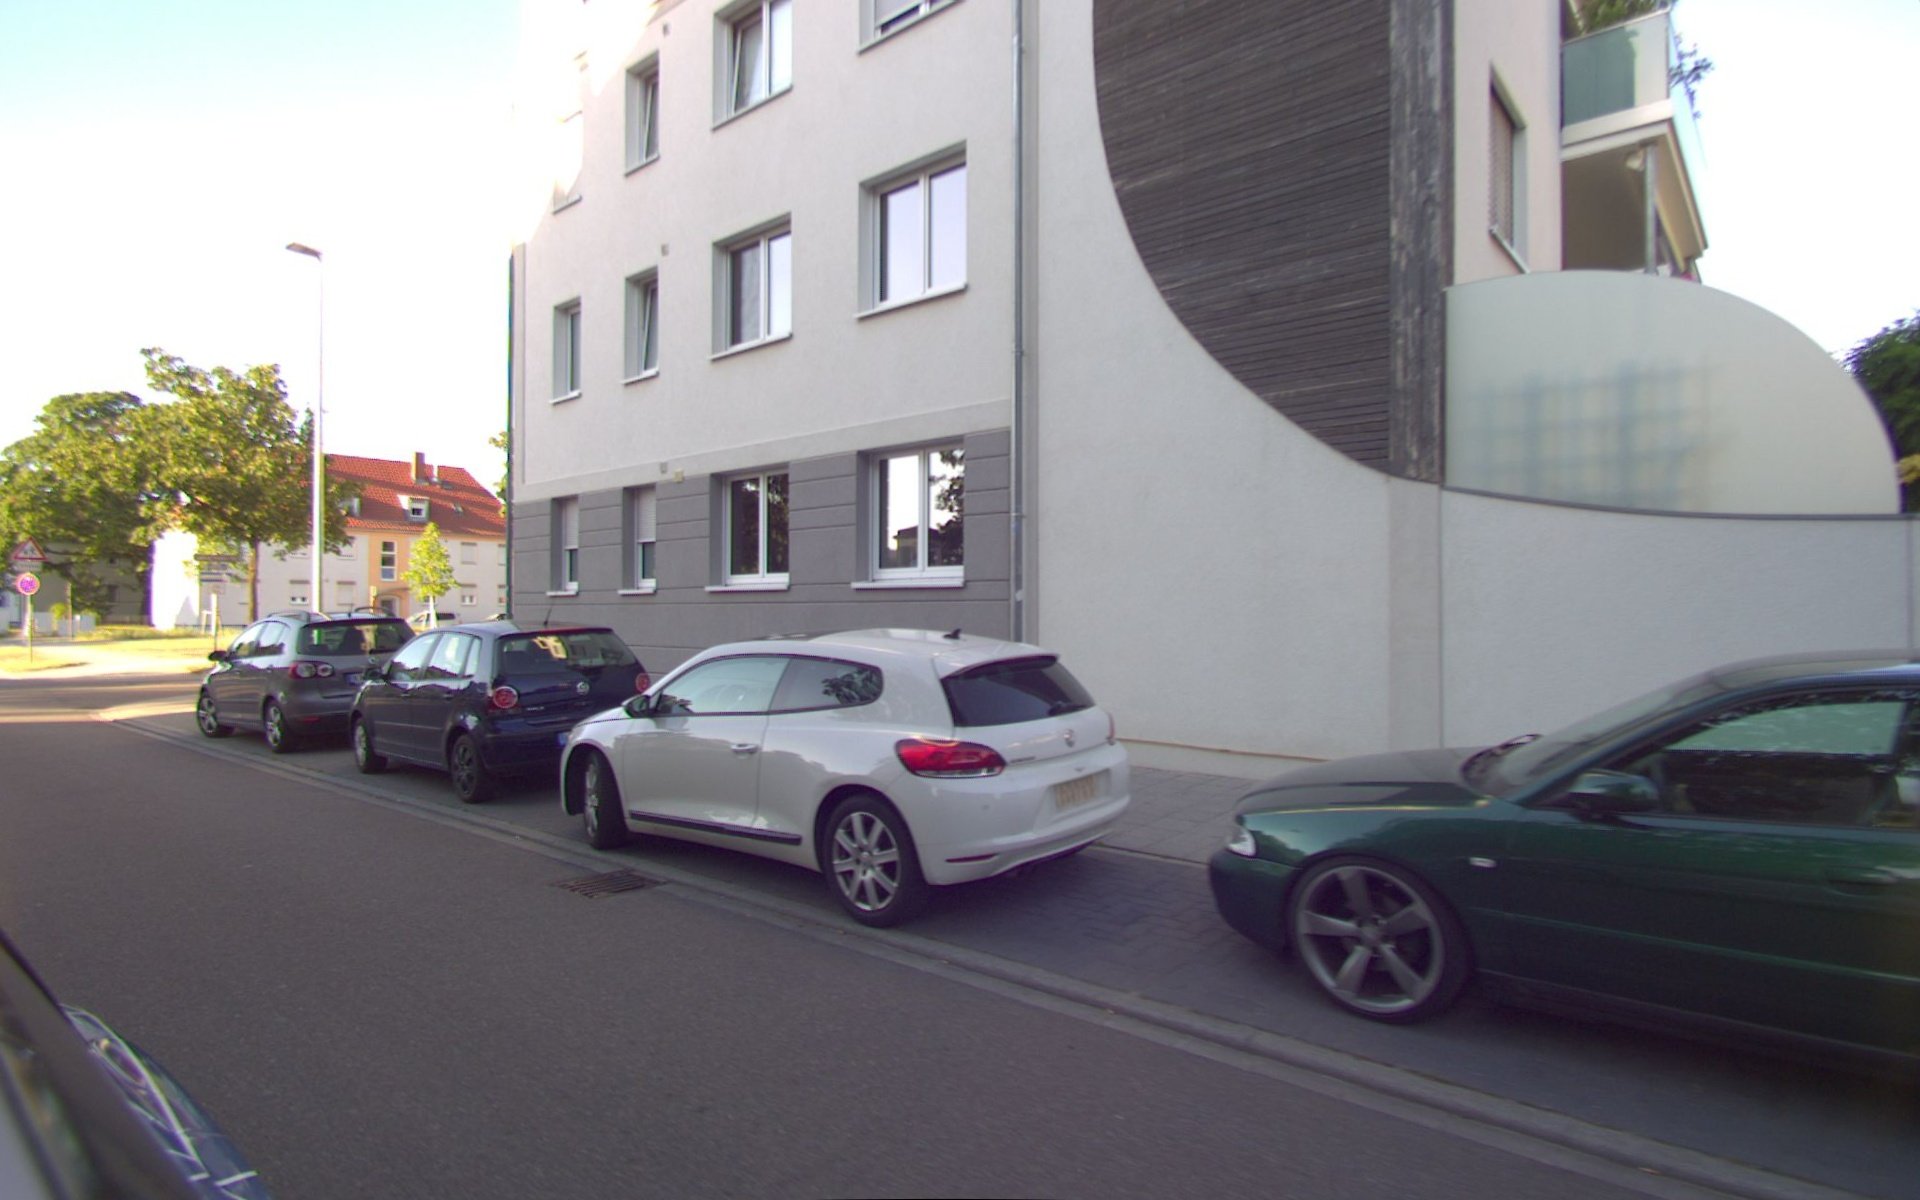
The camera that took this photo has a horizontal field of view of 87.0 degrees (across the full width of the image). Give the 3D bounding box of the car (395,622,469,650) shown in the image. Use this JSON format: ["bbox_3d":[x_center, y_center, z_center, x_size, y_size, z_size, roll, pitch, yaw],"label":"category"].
[{"bbox_3d":[-34.871,2.356,66.878,1.848,1.708,3.948,-3,-3,38],"label":"car"}]

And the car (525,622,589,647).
[{"bbox_3d":[-29.391,2.508,73.813,1.848,1.708,3.948,-3,-3,38],"label":"car"}]

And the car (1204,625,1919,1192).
[{"bbox_3d":[3.099,0.837,3.337,4.140,1.458,1.740,-1,-1,41],"label":"car"}]

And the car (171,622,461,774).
[{"bbox_3d":[-8.233,1.095,12.824,4.085,1.603,1.866,-1,-1,38],"label":"car"}]

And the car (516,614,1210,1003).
[{"bbox_3d":[-0.776,0.895,6.194,4.085,1.603,1.866,-1,-1,38],"label":"car"}]

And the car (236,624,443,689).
[{"bbox_3d":[-17.771,1.544,29.182,1.788,1.682,4.773,-1,-1,41],"label":"car"}]

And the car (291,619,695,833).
[{"bbox_3d":[-4.556,0.988,9.650,4.085,1.603,1.866,-1,-1,38],"label":"car"}]

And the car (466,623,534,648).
[{"bbox_3d":[-31.982,2.457,70.414,1.848,1.708,3.948,-3,-3,38],"label":"car"}]
